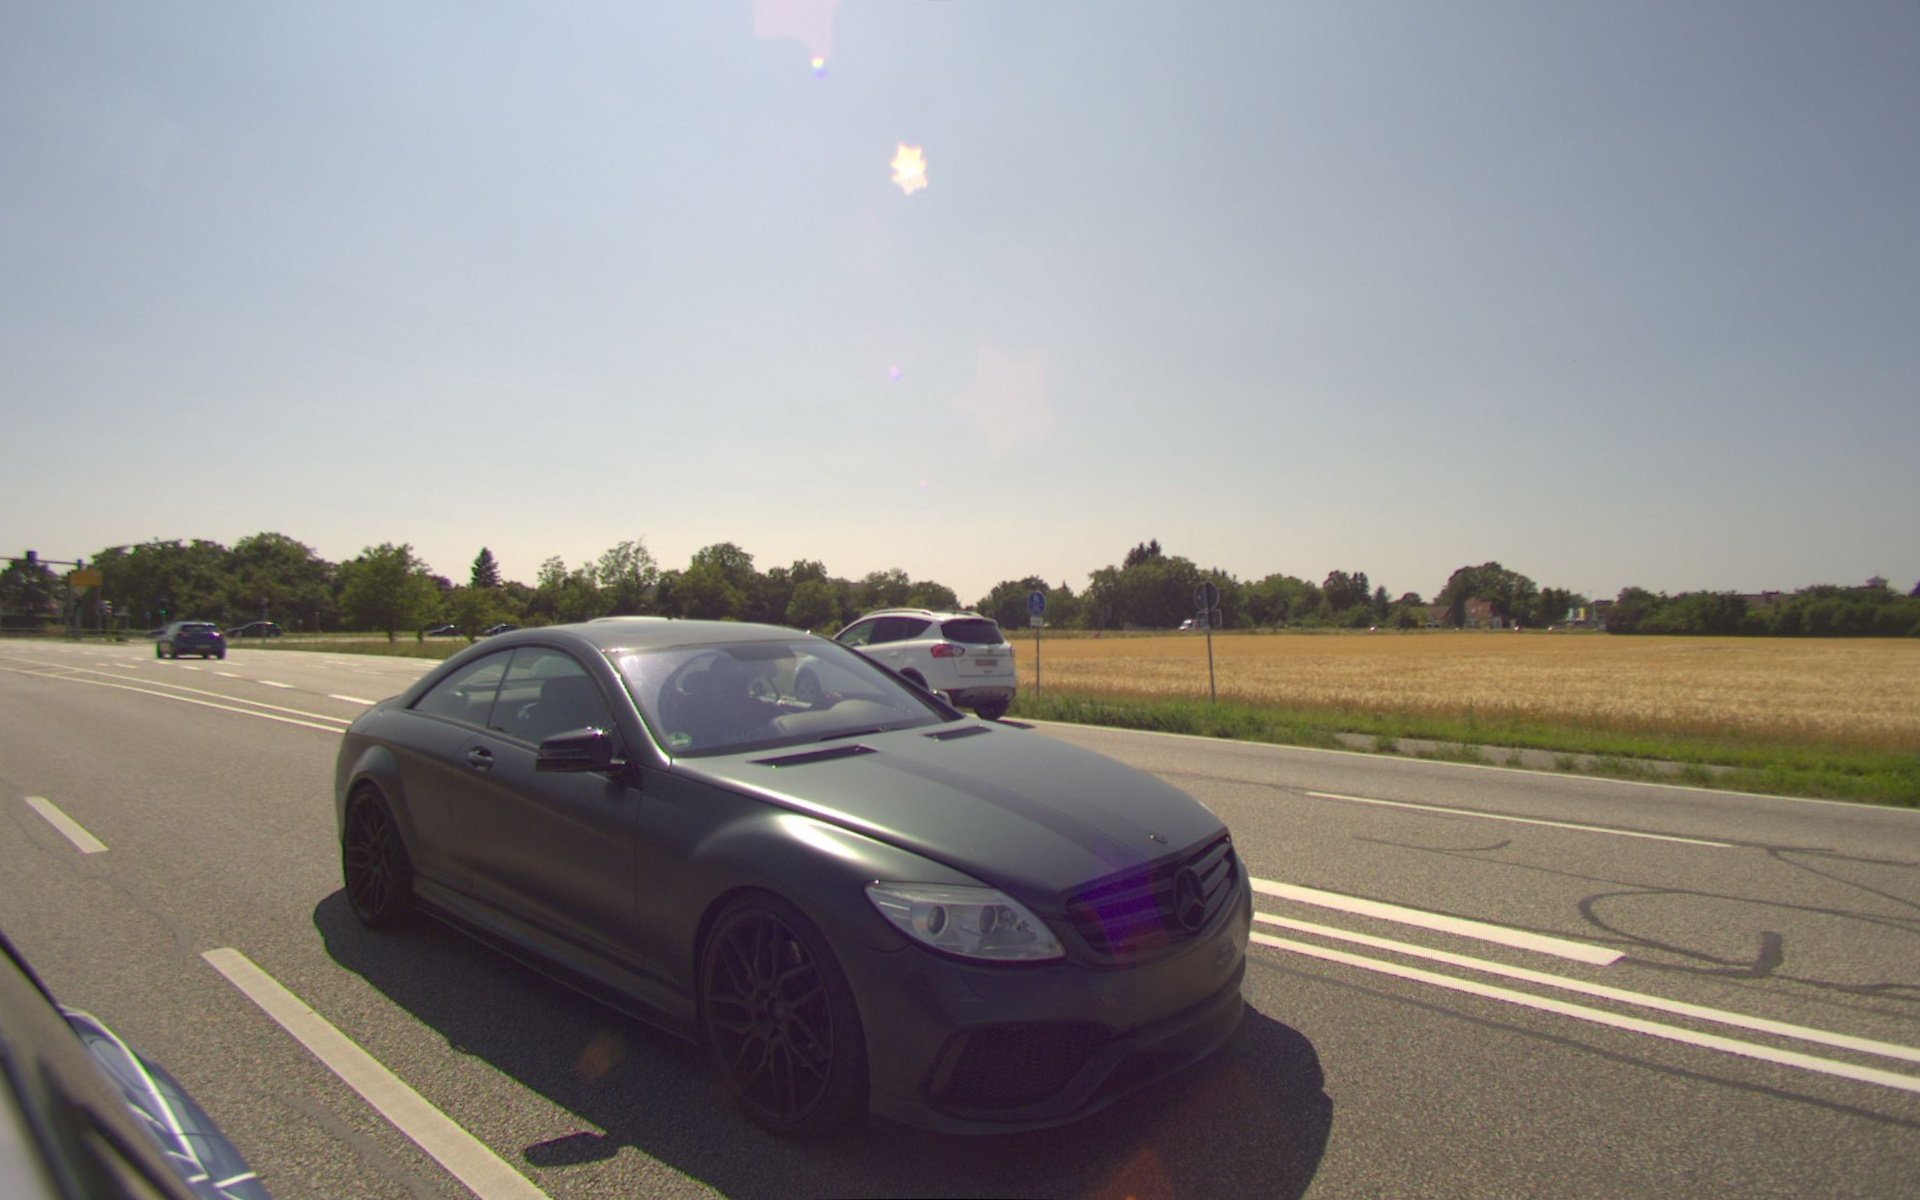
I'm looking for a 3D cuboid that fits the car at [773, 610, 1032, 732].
[{"bbox_3d":[-1.045,1.083,16.246,1.645,1.689,4.466,3,-4,-44],"label":"car"}]

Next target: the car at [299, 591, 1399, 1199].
[{"bbox_3d":[-0.966,0.754,4.293,4.874,1.461,1.792,-1,-1,41],"label":"car"}]

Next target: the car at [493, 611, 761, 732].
[{"bbox_3d":[-4.821,0.962,14.372,4.079,1.453,1.731,-3,-1,41],"label":"car"}]

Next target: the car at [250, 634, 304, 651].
[{"bbox_3d":[-66.615,4.182,98.709,4.298,1.606,1.638,2,-3,-37],"label":"car"}]

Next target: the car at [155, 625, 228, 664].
[{"bbox_3d":[-30.955,1.757,40.718,1.739,1.468,4.233,3,-3,-45],"label":"car"}]

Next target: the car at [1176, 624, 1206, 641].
[{"bbox_3d":[42.300,5.897,185.553,6.283,2.931,2.003,-1,0,-41],"label":"car"}]

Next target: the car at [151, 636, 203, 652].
[{"bbox_3d":[-73.430,4.093,94.937,3.818,1.397,1.638,1,-2,-39],"label":"car"}]

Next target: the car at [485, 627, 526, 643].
[{"bbox_3d":[-49.771,3.806,110.861,3.933,1.586,1.743,-1,0,-34],"label":"car"}]
